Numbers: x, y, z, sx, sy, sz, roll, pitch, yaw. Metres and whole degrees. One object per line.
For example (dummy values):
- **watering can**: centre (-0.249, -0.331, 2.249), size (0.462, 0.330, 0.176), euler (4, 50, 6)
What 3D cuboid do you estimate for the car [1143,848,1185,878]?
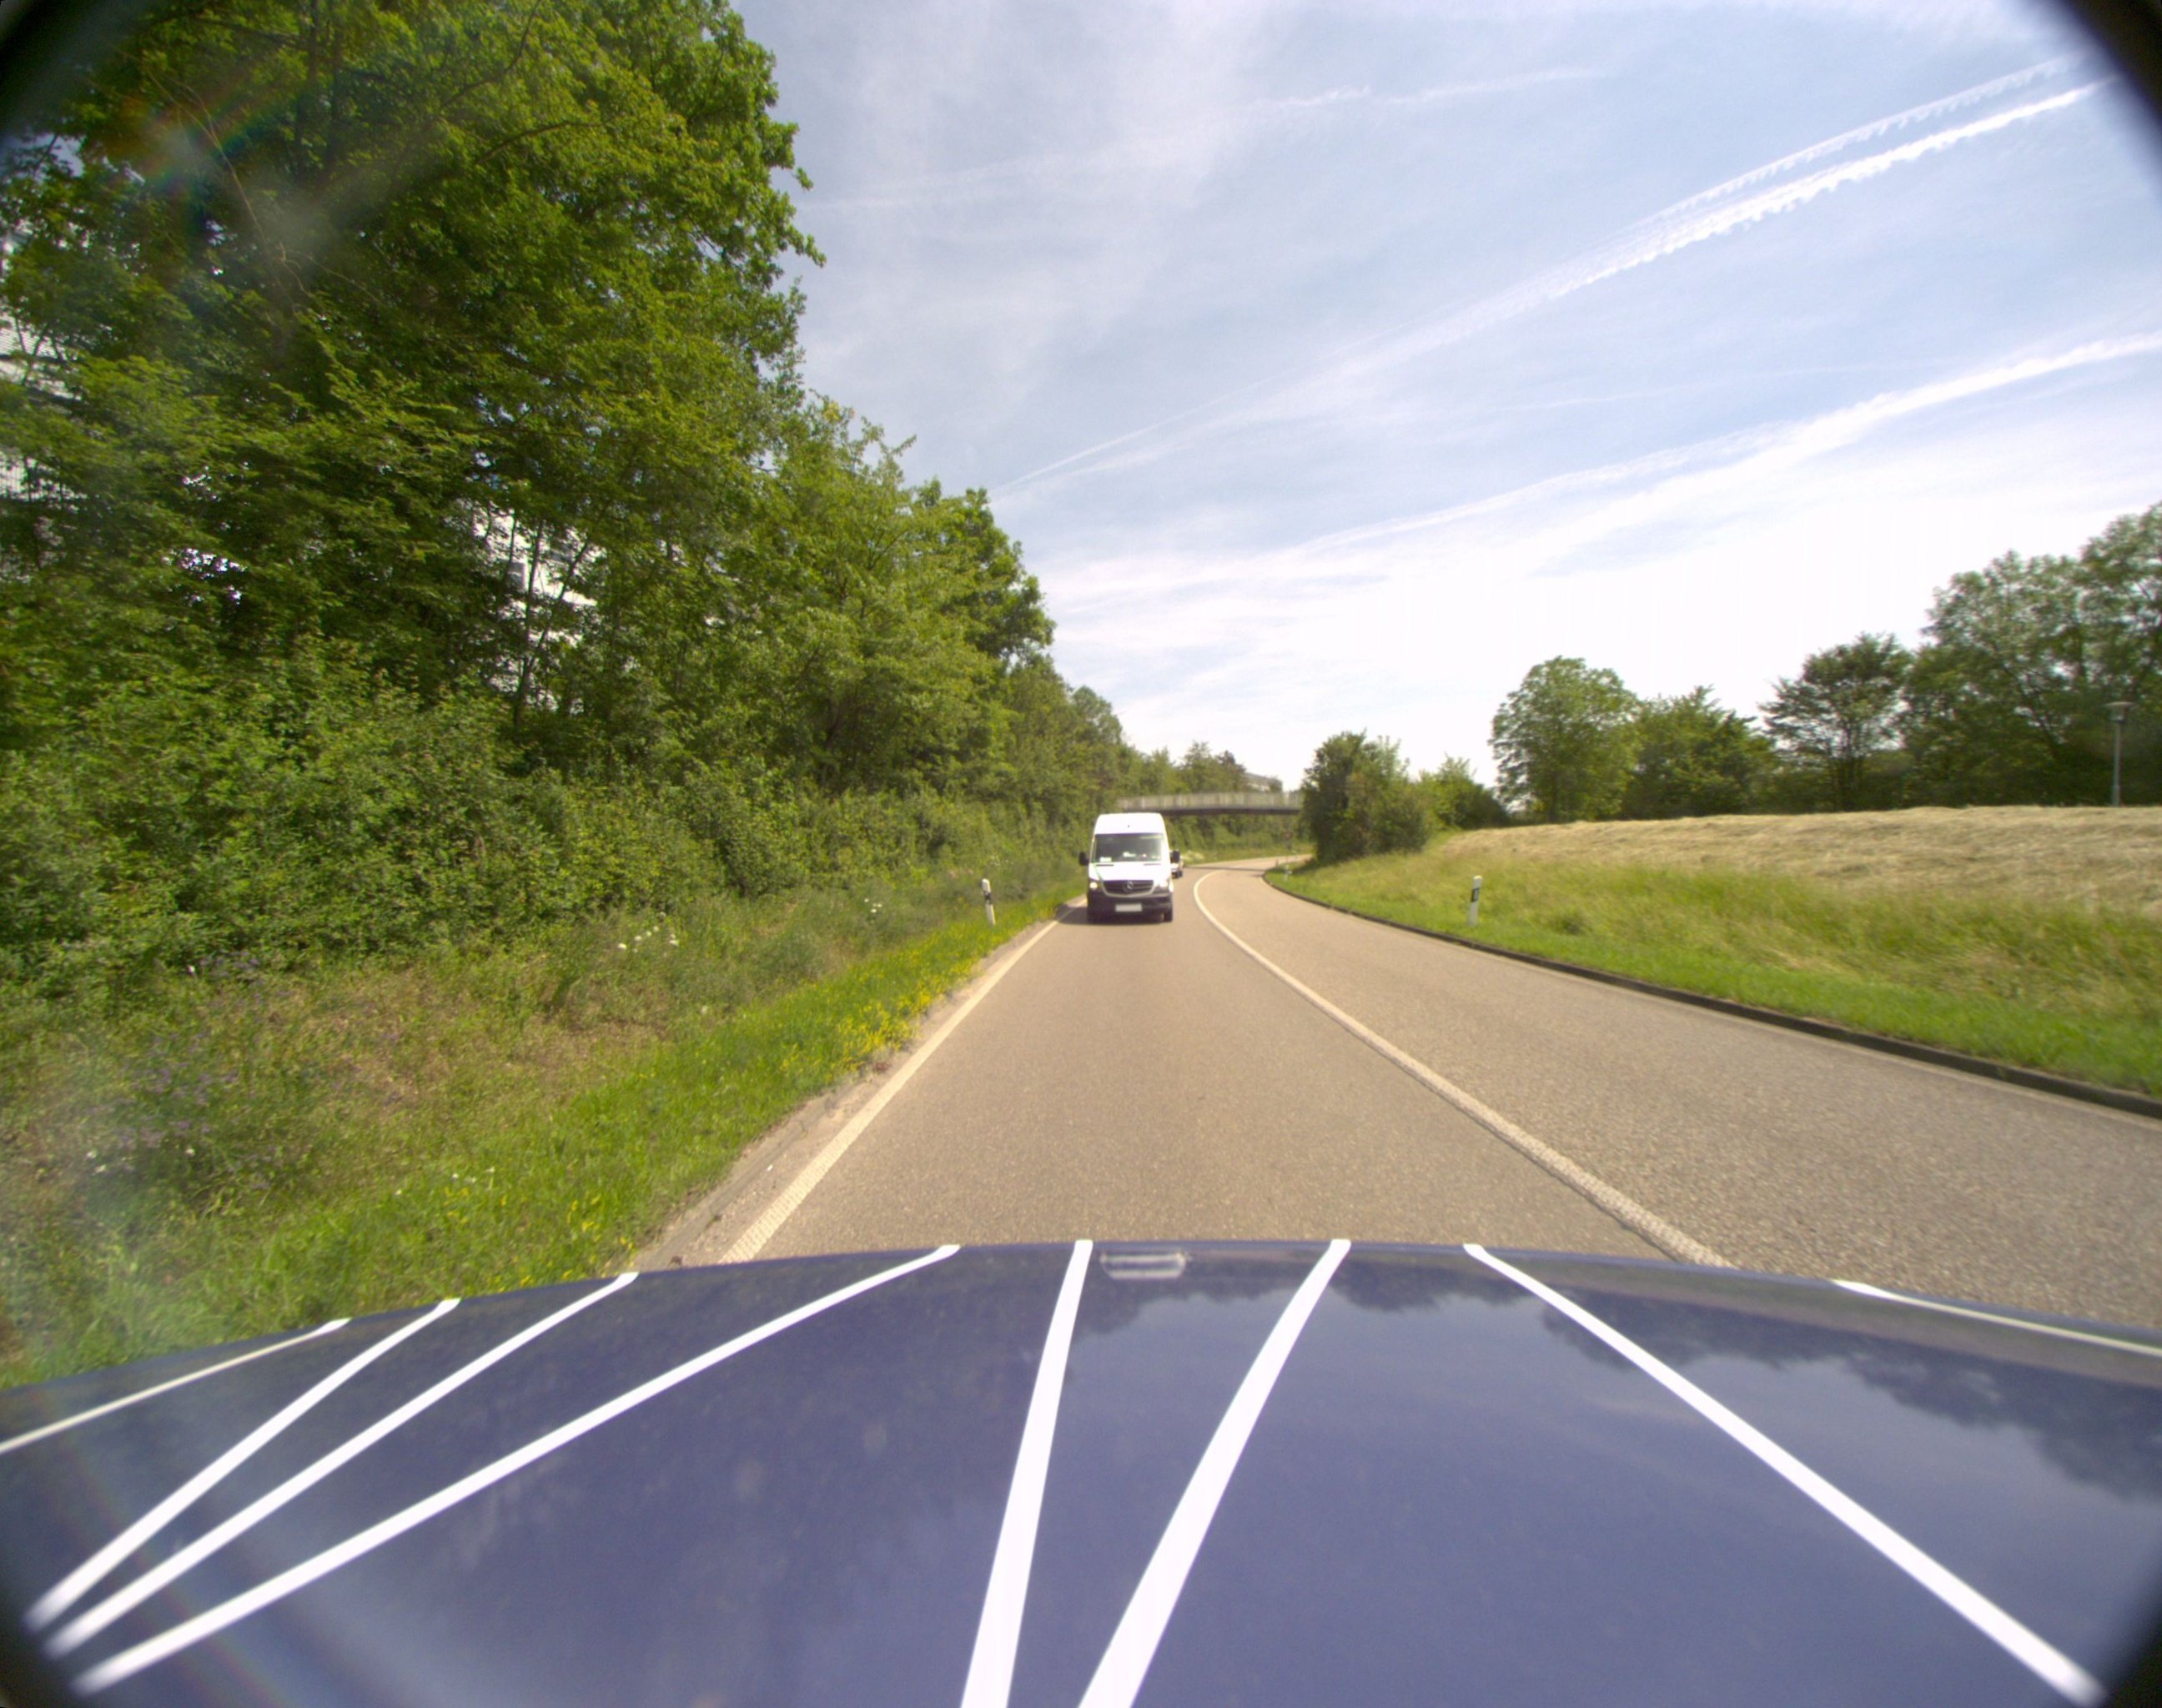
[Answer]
- **car**: centre (5.019, 0.491, 45.523), size (1.847, 1.698, 4.093), euler (0, 1, 15)

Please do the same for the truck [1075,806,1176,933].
- **truck**: centre (1.268, 0.324, 18.430), size (1.997, 2.571, 5.890), euler (-1, 0, 7)
